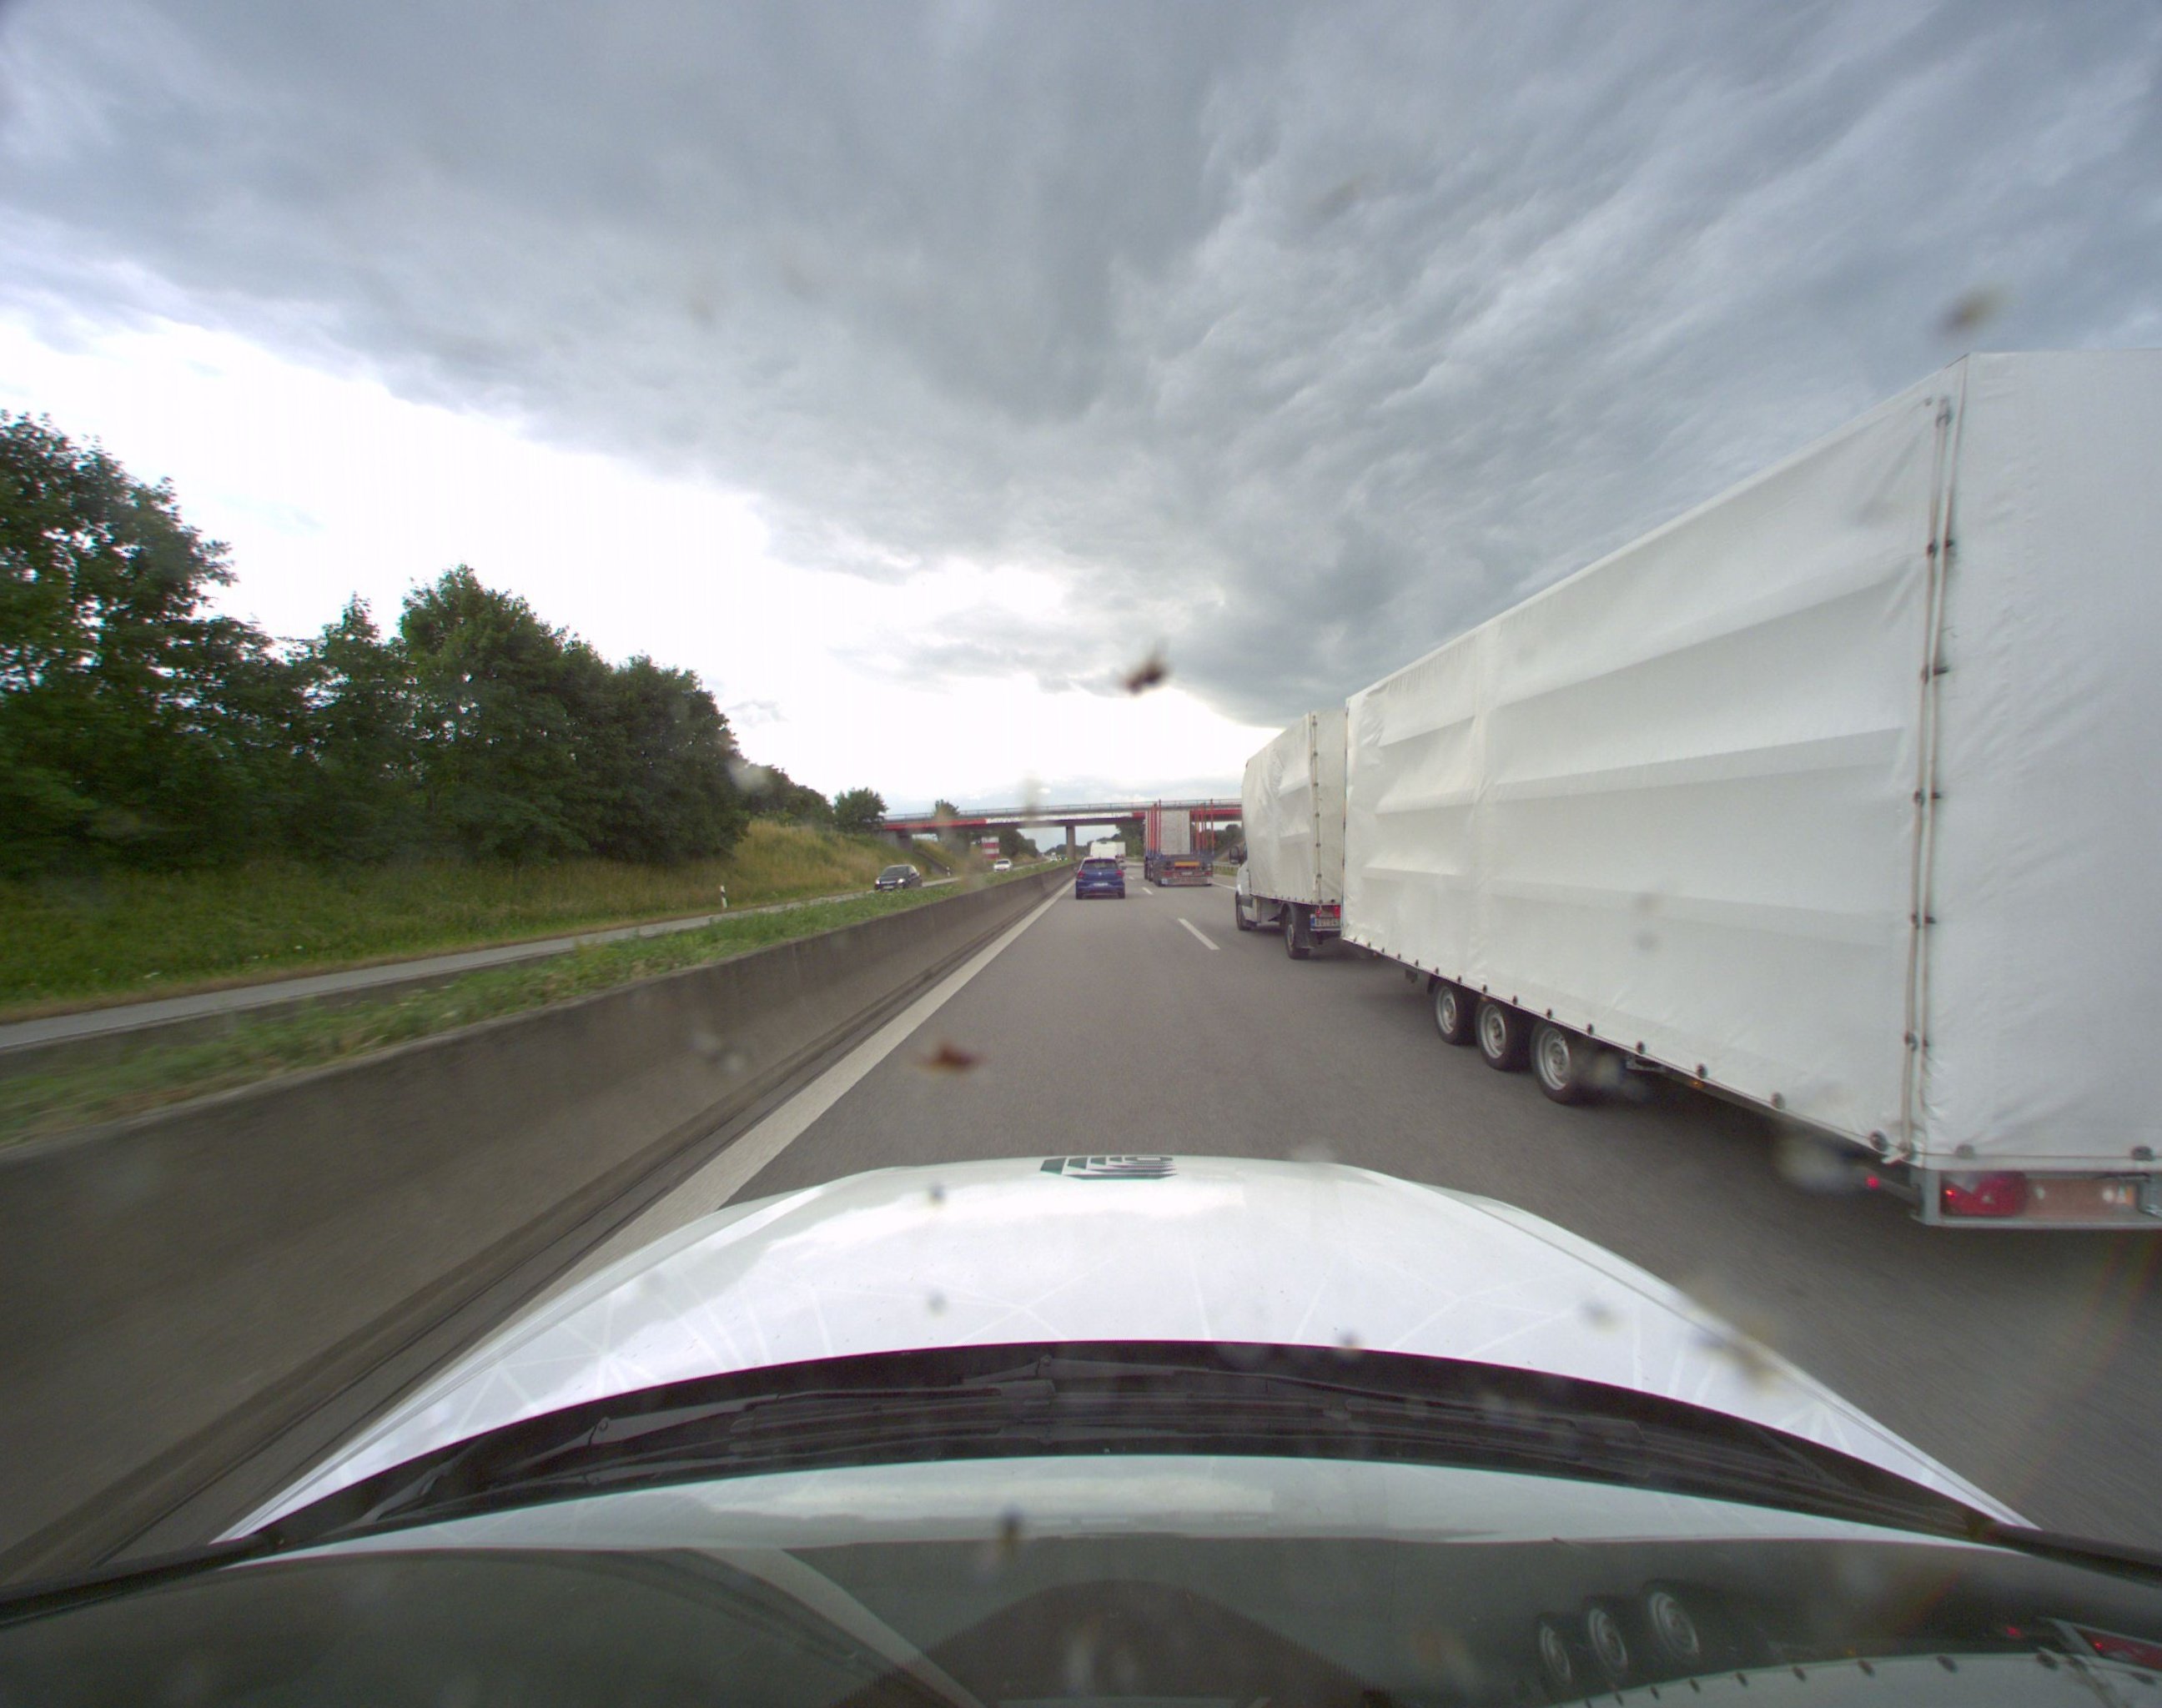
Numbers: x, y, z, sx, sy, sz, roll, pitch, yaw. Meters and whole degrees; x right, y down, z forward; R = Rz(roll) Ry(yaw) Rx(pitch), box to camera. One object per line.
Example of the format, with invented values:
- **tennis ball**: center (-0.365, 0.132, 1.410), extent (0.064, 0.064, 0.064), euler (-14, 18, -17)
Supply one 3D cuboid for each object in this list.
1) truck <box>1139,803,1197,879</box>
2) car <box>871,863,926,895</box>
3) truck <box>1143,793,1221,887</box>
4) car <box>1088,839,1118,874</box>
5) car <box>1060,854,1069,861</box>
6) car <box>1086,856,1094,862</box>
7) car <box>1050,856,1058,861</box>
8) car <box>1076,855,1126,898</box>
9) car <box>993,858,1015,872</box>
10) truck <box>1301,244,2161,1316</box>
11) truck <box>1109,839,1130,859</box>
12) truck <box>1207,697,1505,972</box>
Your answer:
- **truck**: center (4.905, -0.711, 46.808), extent (2.664, 4.045, 5.513), euler (-2, 0, 1)
- **car**: center (-9.109, 1.206, 40.989), extent (1.640, 1.378, 4.237), euler (-4, 0, 2)
- **truck**: center (4.847, -0.671, 41.341), extent (2.664, 4.045, 11.109), euler (-2, 0, 1)
- **car**: center (1.709, 0.192, 62.799), extent (2.122, 2.482, 5.842), euler (-1, 0, 2)
- **car**: center (-4.131, 0.865, 205.971), extent (1.888, 1.461, 4.543), euler (-4, 0, 2)
- **car**: center (2.515, 1.346, 224.393), extent (1.986, 1.684, 4.001), euler (-1, 0, 2)
- **car**: center (-7.703, 1.283, 231.634), extent (1.888, 1.461, 4.543), euler (-4, 0, 2)
- **car**: center (0.707, 0.754, 29.079), extent (1.658, 1.407, 3.649), euler (-1, 0, 1)
- **car**: center (-8.683, 1.214, 92.014), extent (1.888, 1.461, 4.543), euler (-4, 0, 2)
- **truck**: center (3.808, -0.243, 6.035), extent (2.407, 3.222, 7.143), euler (-1, 0, 0)
- **truck**: center (7.230, -0.891, 155.366), extent (3.103, 3.689, 9.314), euler (-3, 0, -2)
- **truck**: center (3.839, -0.230, 13.334), extent (2.422, 3.243, 7.246), euler (-1, 0, 0)
